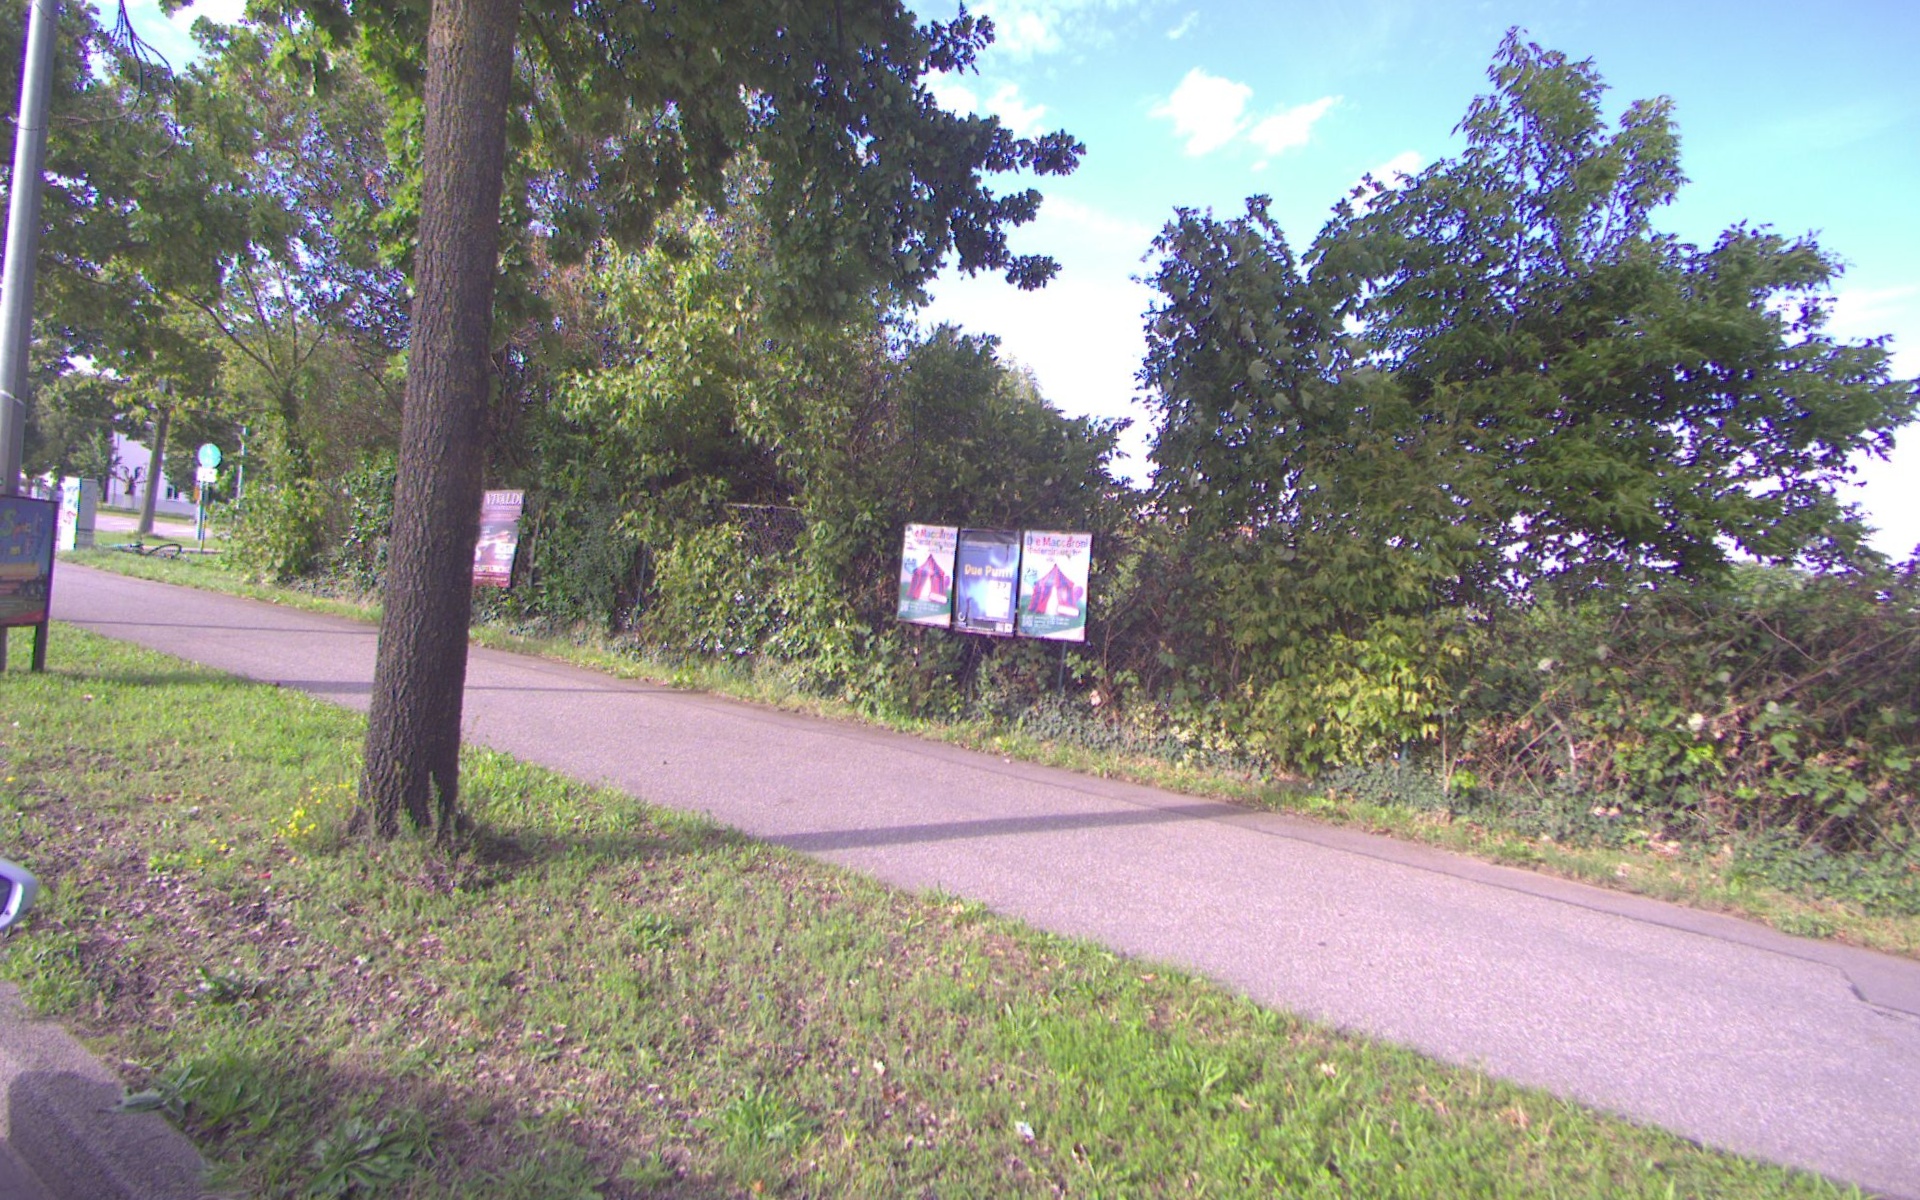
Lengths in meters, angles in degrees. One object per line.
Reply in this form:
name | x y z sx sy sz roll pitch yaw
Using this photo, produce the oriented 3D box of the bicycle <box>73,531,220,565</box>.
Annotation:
bicycle | -17.721 -1.128 21.937 2.529 0.390 1.411 7 0 21
